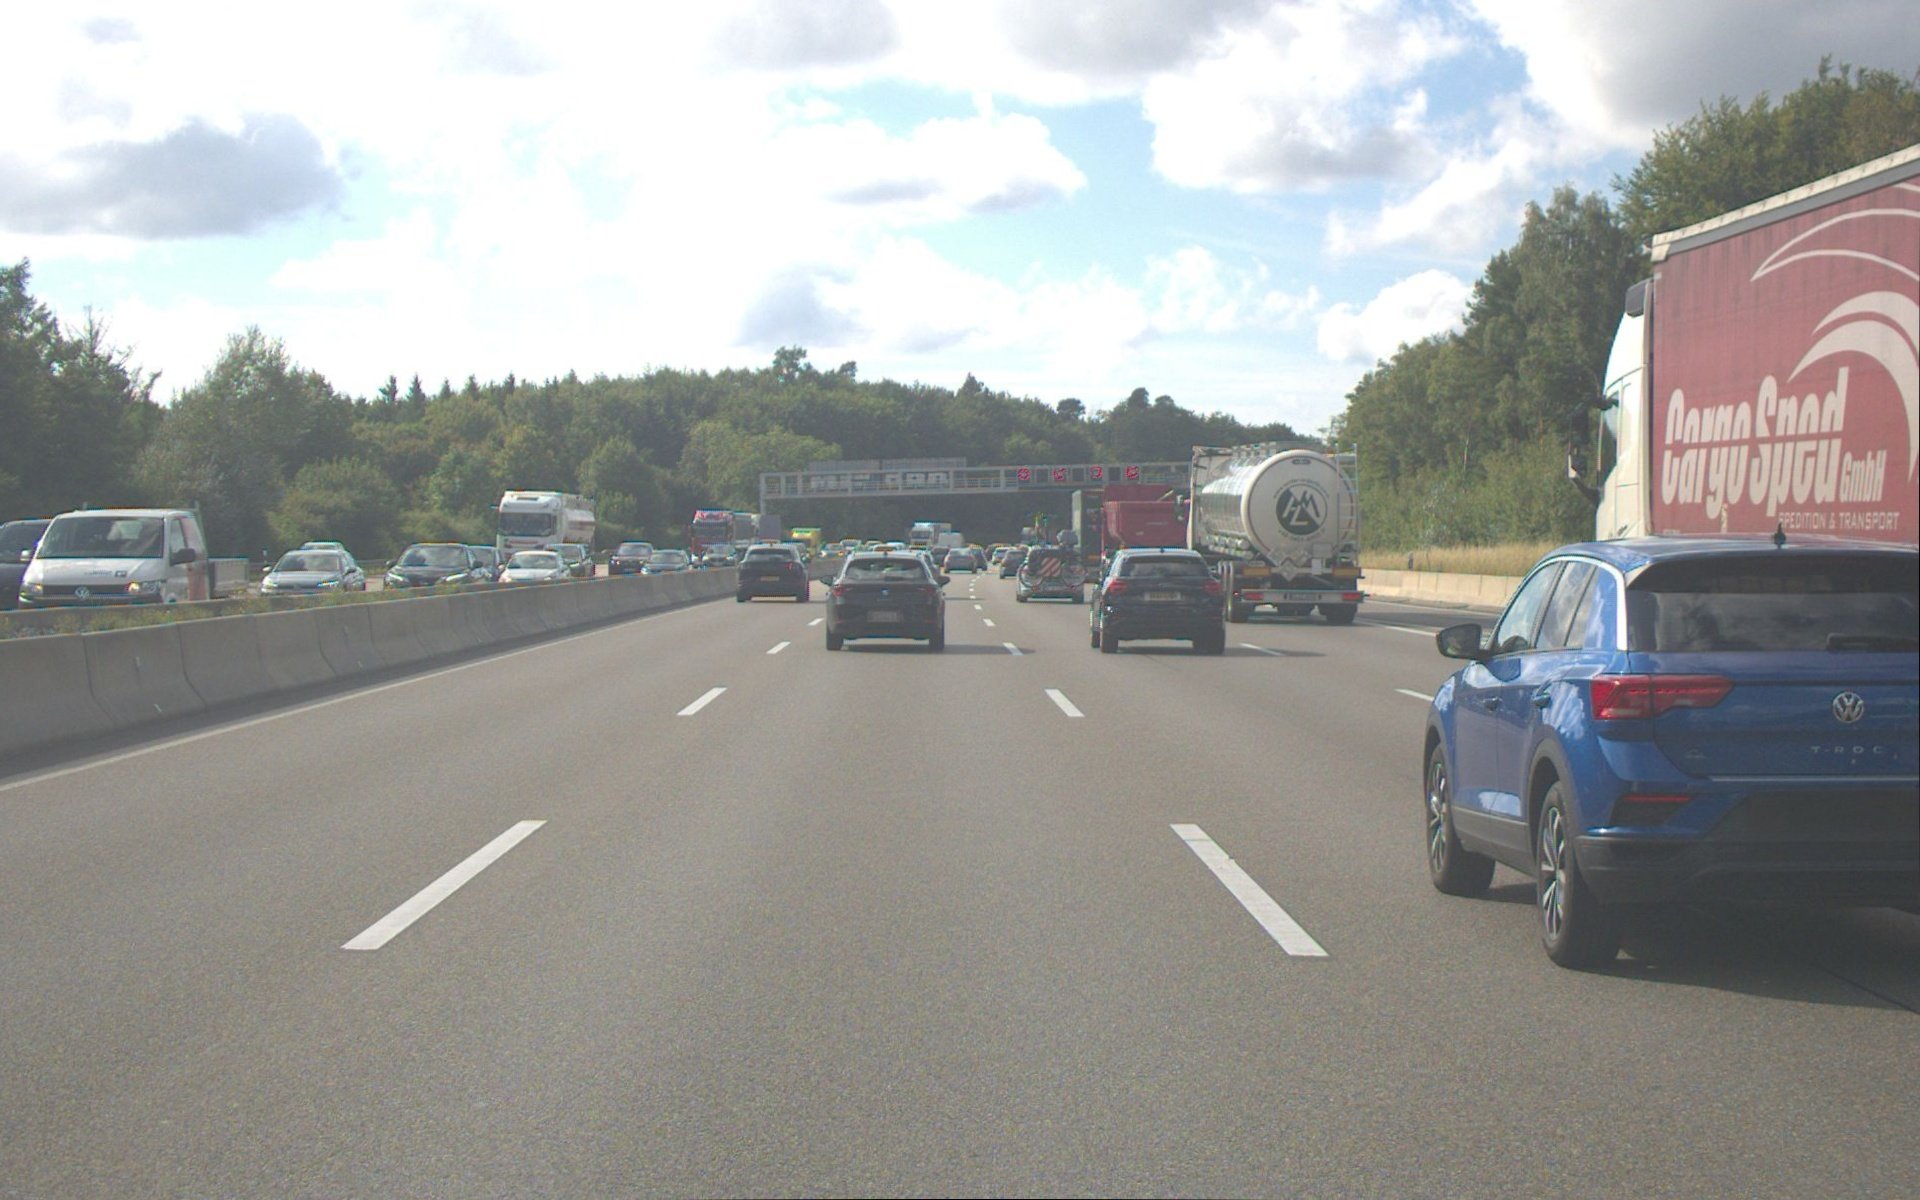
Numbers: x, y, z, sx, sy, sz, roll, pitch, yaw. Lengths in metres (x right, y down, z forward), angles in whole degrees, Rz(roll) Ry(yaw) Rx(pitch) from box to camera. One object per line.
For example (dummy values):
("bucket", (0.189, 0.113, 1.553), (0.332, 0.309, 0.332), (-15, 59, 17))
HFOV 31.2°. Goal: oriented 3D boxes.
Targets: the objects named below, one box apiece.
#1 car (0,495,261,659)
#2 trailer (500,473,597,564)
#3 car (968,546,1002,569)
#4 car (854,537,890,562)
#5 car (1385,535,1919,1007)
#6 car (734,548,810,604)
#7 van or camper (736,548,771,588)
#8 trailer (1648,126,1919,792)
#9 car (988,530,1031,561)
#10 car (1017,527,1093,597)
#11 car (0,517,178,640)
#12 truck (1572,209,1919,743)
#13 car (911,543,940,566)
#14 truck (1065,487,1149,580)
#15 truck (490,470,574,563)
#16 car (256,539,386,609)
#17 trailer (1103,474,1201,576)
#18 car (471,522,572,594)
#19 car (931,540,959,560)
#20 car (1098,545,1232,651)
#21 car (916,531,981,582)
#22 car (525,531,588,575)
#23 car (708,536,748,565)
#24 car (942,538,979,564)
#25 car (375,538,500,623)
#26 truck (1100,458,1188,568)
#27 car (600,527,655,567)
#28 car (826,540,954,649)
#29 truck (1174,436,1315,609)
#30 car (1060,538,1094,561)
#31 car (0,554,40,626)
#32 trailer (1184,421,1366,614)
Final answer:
("car", (-10.966, -0.344, 45.790), (2.159, 2.007, 5.823), (-1, 1, -1))
("trailer", (-18.465, -3.660, 155.095), (2.788, 3.932, 12.253), (0, 1, 1))
("car", (1.618, -2.745, 222.765), (2.077, 1.452, 4.000), (-1, 1, -1))
("car", (-5.157, -2.983, 202.318), (2.077, 1.452, 4.000), (-1, 1, -1))
("car", (2.876, 0.523, 13.580), (1.773, 1.525, 4.458), (-1, 1, -1))
("car", (-5.160, -0.680, 94.683), (1.942, 1.452, 4.000), (-1, 1, -1))
("van or camper", (-15.403, -2.374, 256.459), (2.373, 2.882, 6.507), (-1, 1, -2))
("trailer", (7.187, -0.866, 21.662), (2.774, 4.031, 13.714), (0, 1, -1))
("car", (2.406, -2.652, 167.814), (1.942, 1.452, 4.000), (-1, 1, -1))
("car", (2.600, -1.061, 94.481), (1.893, 1.850, 4.101), (1, 1, -1))
("car", (-14.053, -0.372, 54.450), (2.171, 1.832, 5.260), (-1, 1, -1))
("truck", (7.088, -0.992, 28.894), (2.774, 4.031, 5.774), (0, 1, -1))
("car", (-2.347, -3.100, 233.144), (1.929, 1.452, 4.392), (-1, 1, -1))
("truck", (6.393, -2.928, 151.015), (3.118, 3.921, 10.412), (-1, 1, 0))
("truck", (-18.499, -3.600, 148.948), (2.788, 3.932, 6.446), (0, 1, 1))
("car", (-14.388, -0.612, 77.657), (1.993, 1.479, 5.132), (-1, 1, 0))
("trailer", (6.295, -2.536, 114.014), (2.710, 3.220, 9.733), (1, 2, 0))
("car", (-11.962, -1.176, 94.077), (2.171, 1.872, 4.981), (-1, 1, -1))
("car", (-1.133, -3.737, 255.878), (1.929, 1.452, 3.965), (-1, 1, -1))
("car", (2.972, -0.056, 50.552), (1.822, 1.452, 4.000), (-1, 1, 2))
("car", (-0.326, -1.322, 102.246), (1.822, 1.452, 4.000), (-1, 1, 1))
("car", (-15.194, -1.779, 129.669), (1.860, 1.614, 4.748), (0, 1, 0))
("car", (-13.385, -2.867, 198.776), (1.994, 1.658, 4.687), (-1, 1, -1))
("car", (0.019, -2.839, 199.073), (2.077, 1.452, 4.000), (-1, 1, -1))
("car", (-10.630, -0.428, 70.217), (1.913, 1.634, 4.242), (-1, 1, -1))
("truck", (6.322, -3.029, 118.820), (2.710, 3.706, 5.818), (1, 2, 0))
("car", (-14.471, -2.320, 149.834), (1.855, 1.664, 5.211), (-2, 1, 0))
("car", (-1.013, -0.116, 50.932), (1.822, 1.541, 4.000), (0, 1, 0))
("truck", (6.464, -1.772, 78.882), (2.649, 3.810, 6.082), (0, 1, -1))
("car", (7.835, -3.386, 230.688), (2.077, 1.452, 4.000), (-1, 1, -1))
("car", (-18.500, -0.169, 63.430), (1.865, 1.297, 4.550), (-1, 1, -1))
("trailer", (6.542, -1.725, 73.058), (2.649, 3.754, 11.861), (0, 1, -1))
